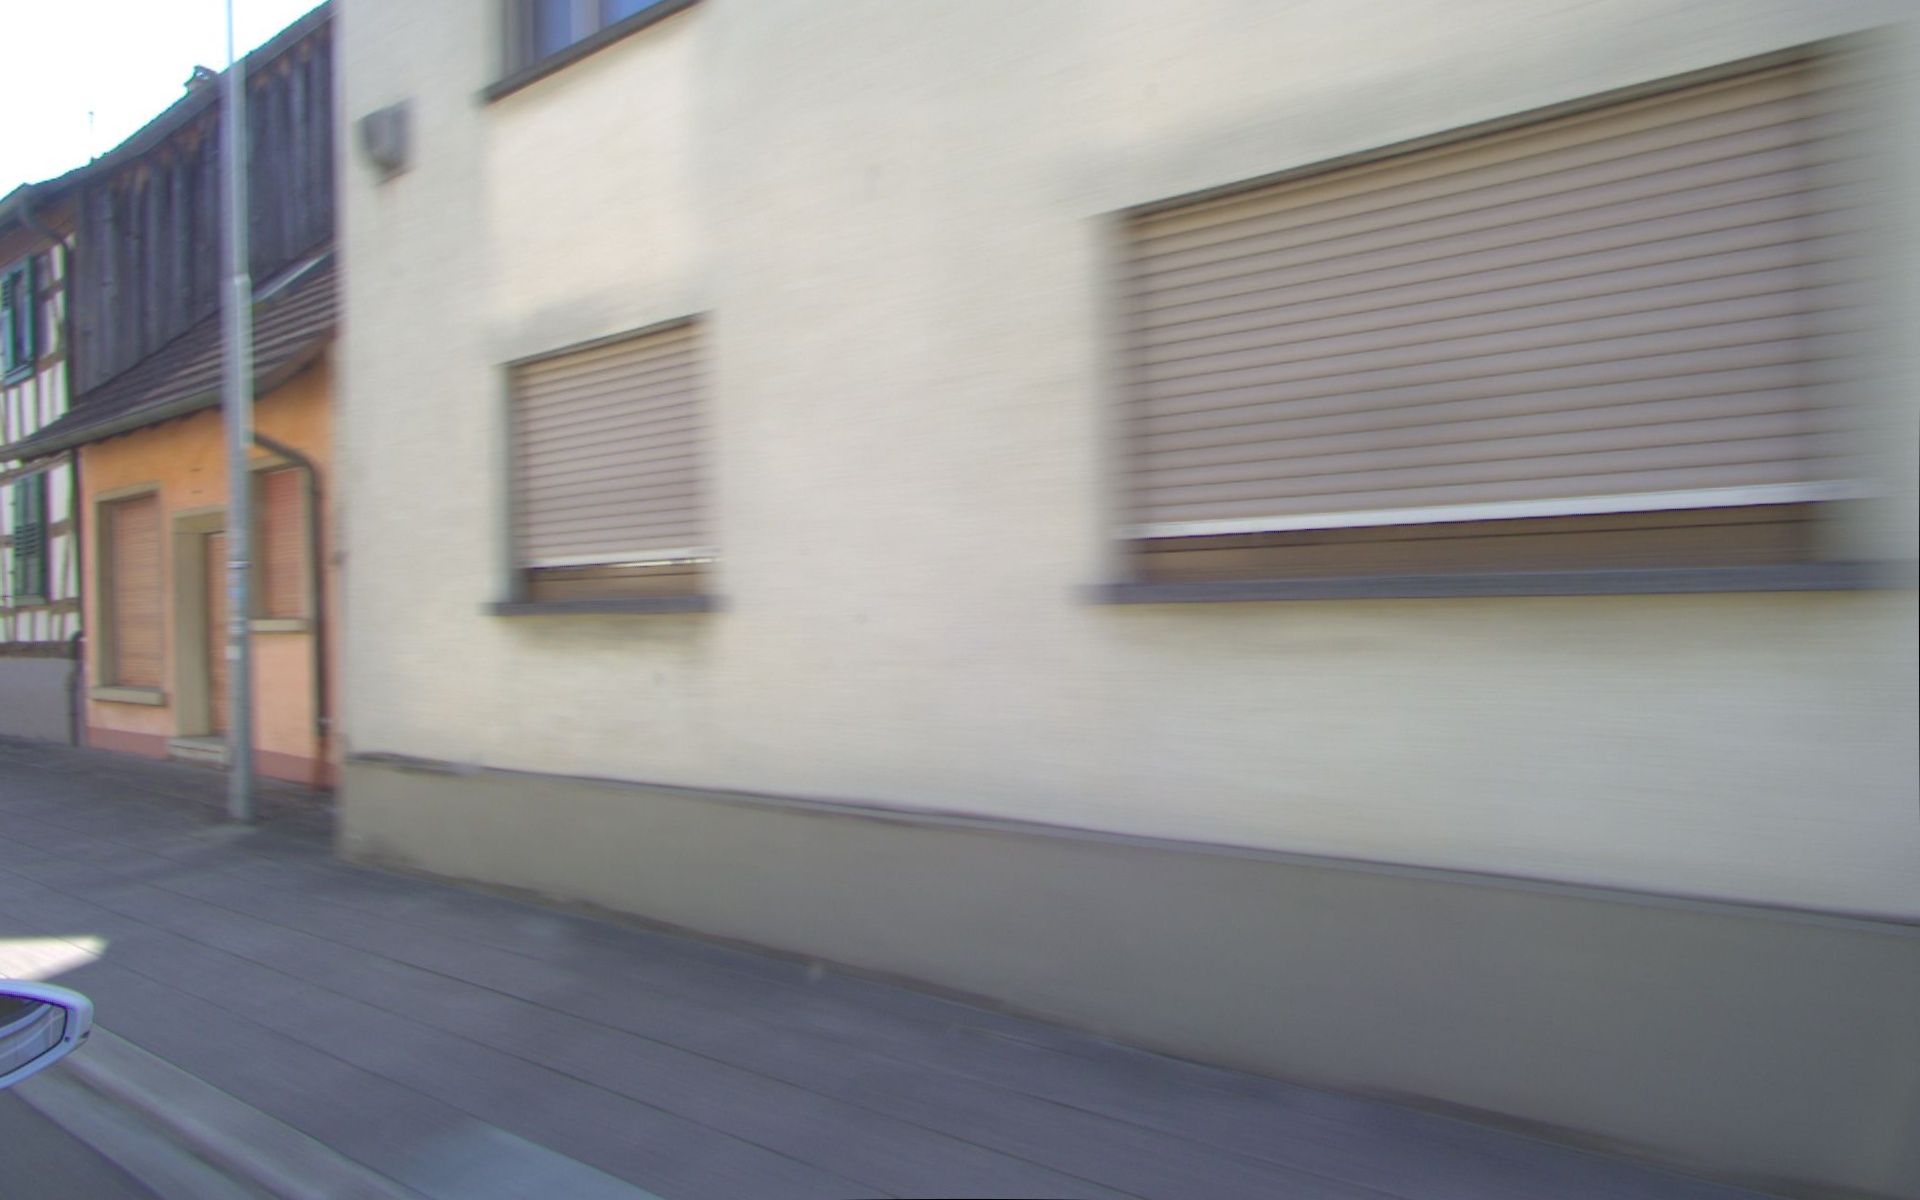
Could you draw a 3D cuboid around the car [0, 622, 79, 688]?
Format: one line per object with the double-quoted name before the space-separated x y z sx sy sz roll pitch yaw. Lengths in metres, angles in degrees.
"car" -22.361 1.227 22.088 1.969 1.461 3.983 -1 -1 29
